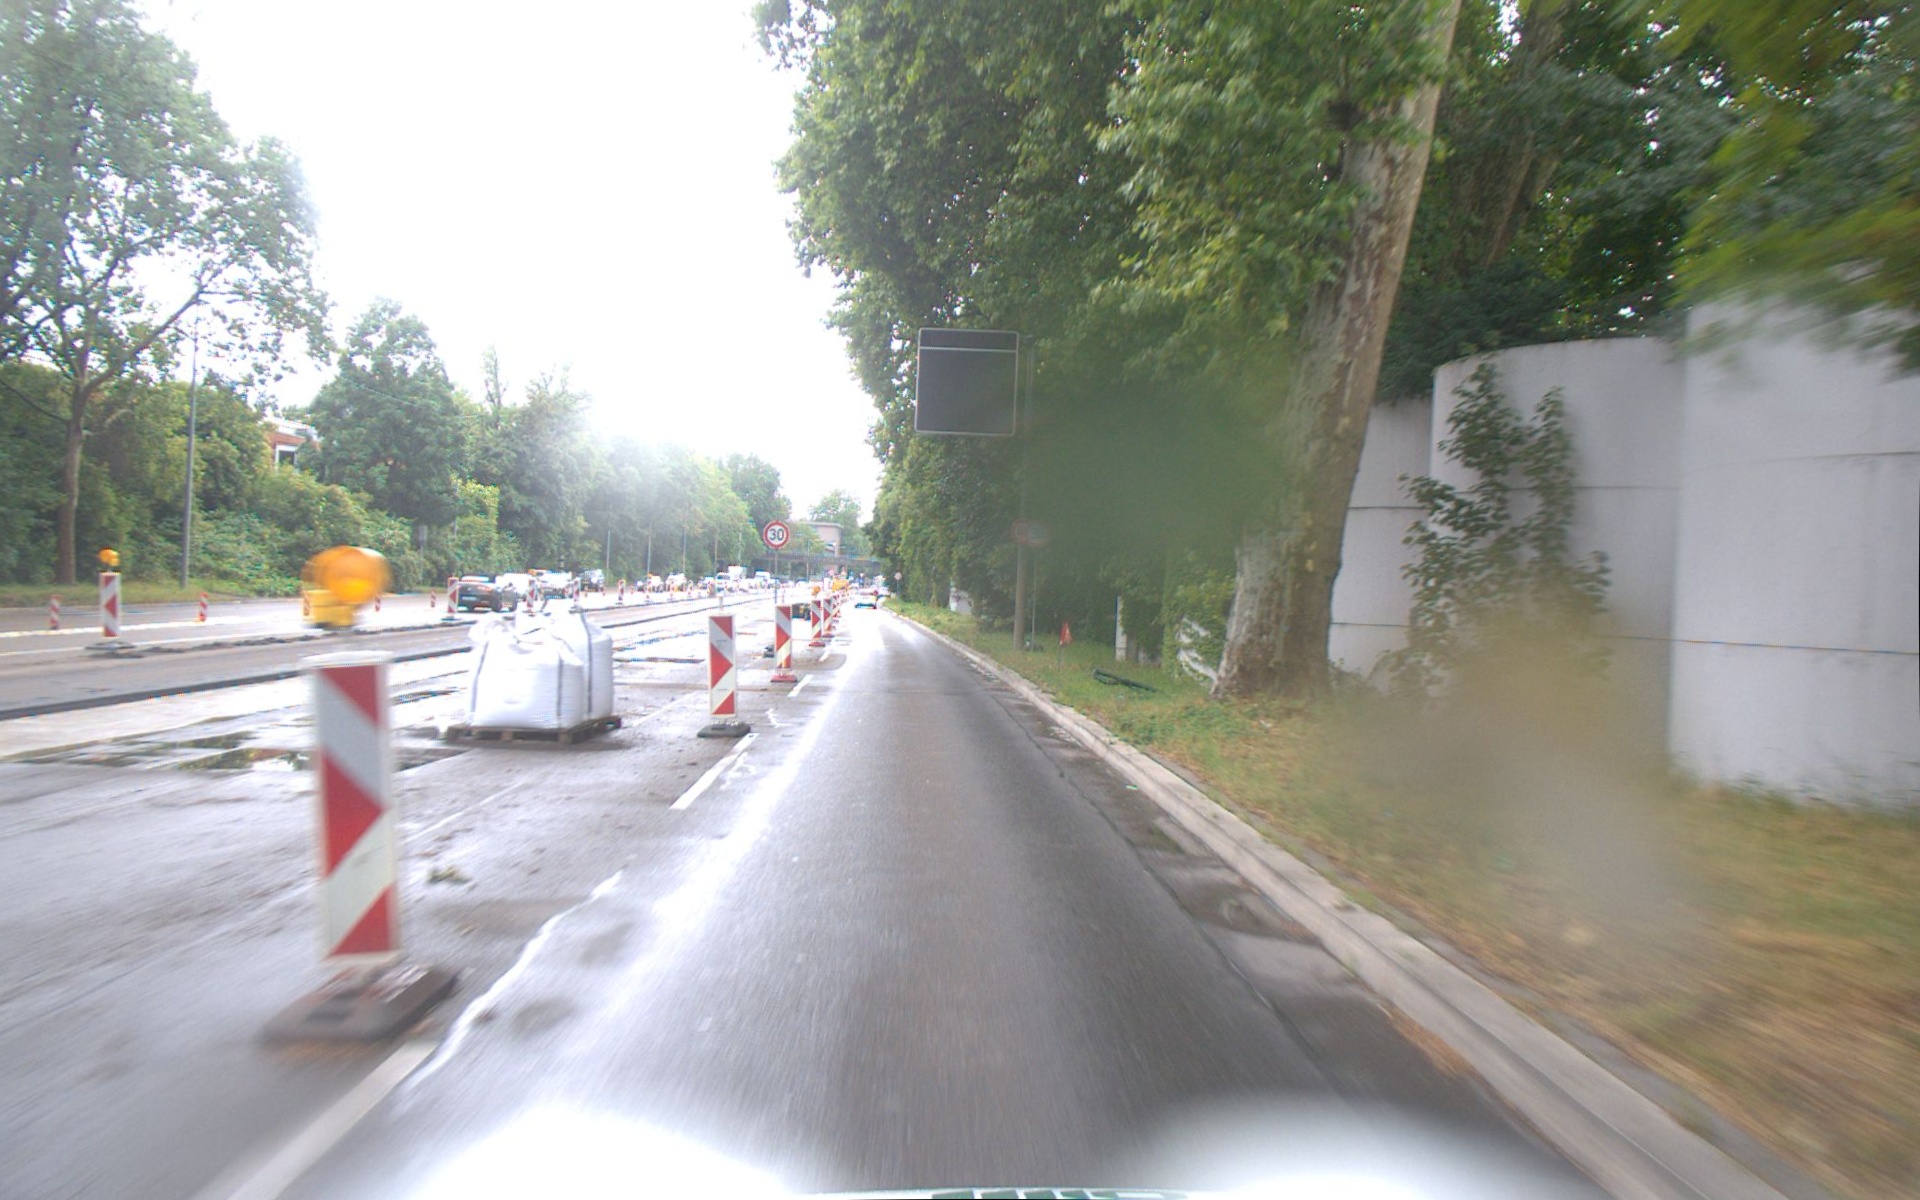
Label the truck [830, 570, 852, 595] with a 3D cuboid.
[{"bbox_3d":[-18.384,-2.748,256.161,3.195,3.558,13.860,3,0,-4],"label":"truck"}]

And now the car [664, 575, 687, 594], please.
[{"bbox_3d":[-27.360,-1.497,159.036,1.701,1.752,4.490,3,0,-4],"label":"car"}]

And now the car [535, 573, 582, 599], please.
[{"bbox_3d":[-21.713,-0.776,89.621,1.782,1.379,4.202,1,1,-4],"label":"car"}]

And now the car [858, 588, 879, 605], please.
[{"bbox_3d":[-7.452,-0.291,135.078,1.663,1.359,3.489,0,0,-3],"label":"car"}]

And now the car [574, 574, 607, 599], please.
[{"bbox_3d":[-27.766,-1.015,124.303,1.620,1.714,4.530,3,0,-4],"label":"car"}]

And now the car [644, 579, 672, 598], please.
[{"bbox_3d":[-25.583,-0.991,140.243,1.726,1.509,4.896,2,0,-5],"label":"car"}]

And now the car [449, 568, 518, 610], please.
[{"bbox_3d":[-17.539,-0.427,61.037,1.576,1.429,4.038,3,0,-4],"label":"car"}]
